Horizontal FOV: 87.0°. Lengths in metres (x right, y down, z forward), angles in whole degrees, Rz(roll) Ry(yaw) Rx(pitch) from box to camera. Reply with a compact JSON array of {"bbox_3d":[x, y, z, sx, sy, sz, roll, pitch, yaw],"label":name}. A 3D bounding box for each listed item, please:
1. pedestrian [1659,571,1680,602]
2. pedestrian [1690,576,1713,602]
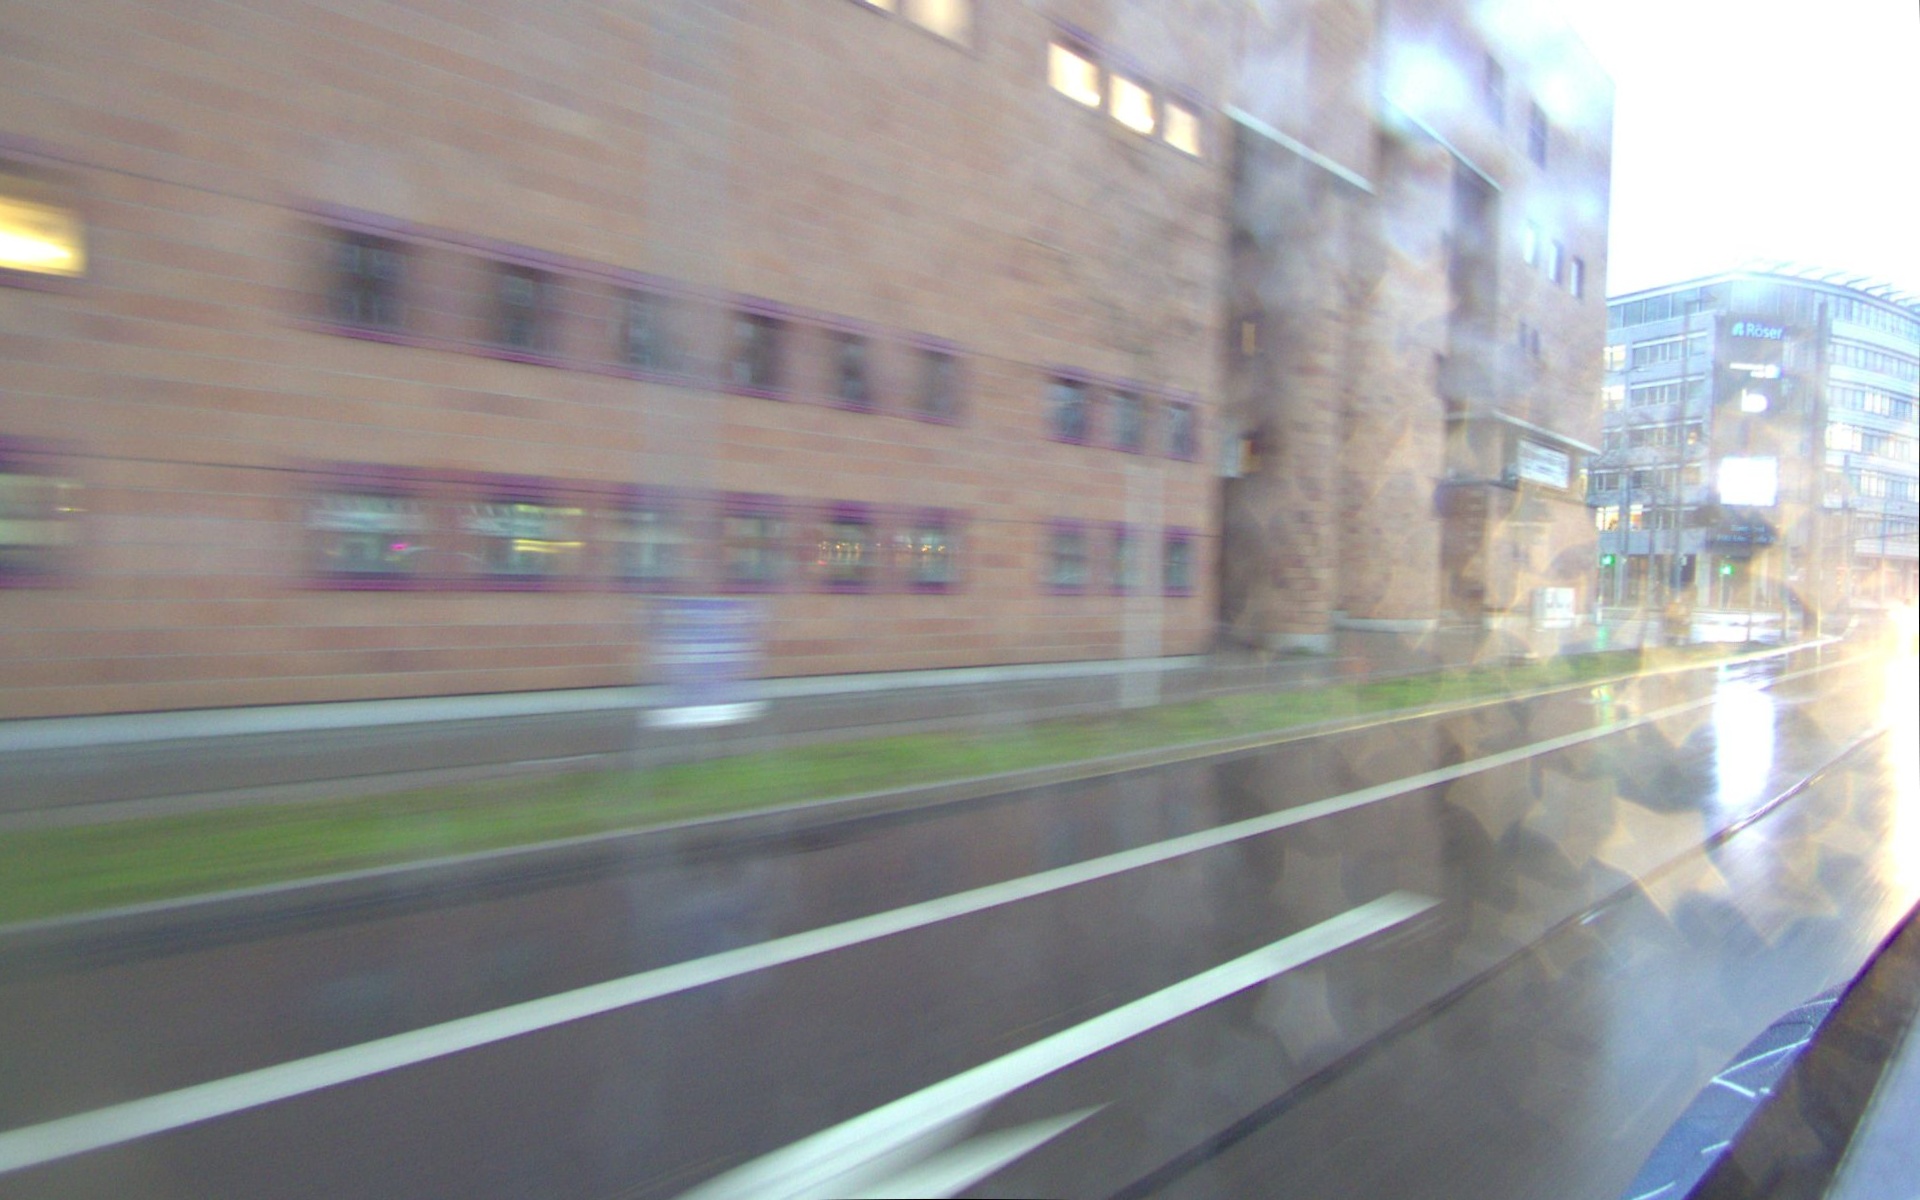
[{"bbox_3d":[42.206,-0.794,60.238,0.789,1.833,0.647,2,2,16],"label":"pedestrian"},{"bbox_3d":[51.564,-0.775,70.386,1.147,1.809,0.766,3,2,40],"label":"pedestrian"}]
